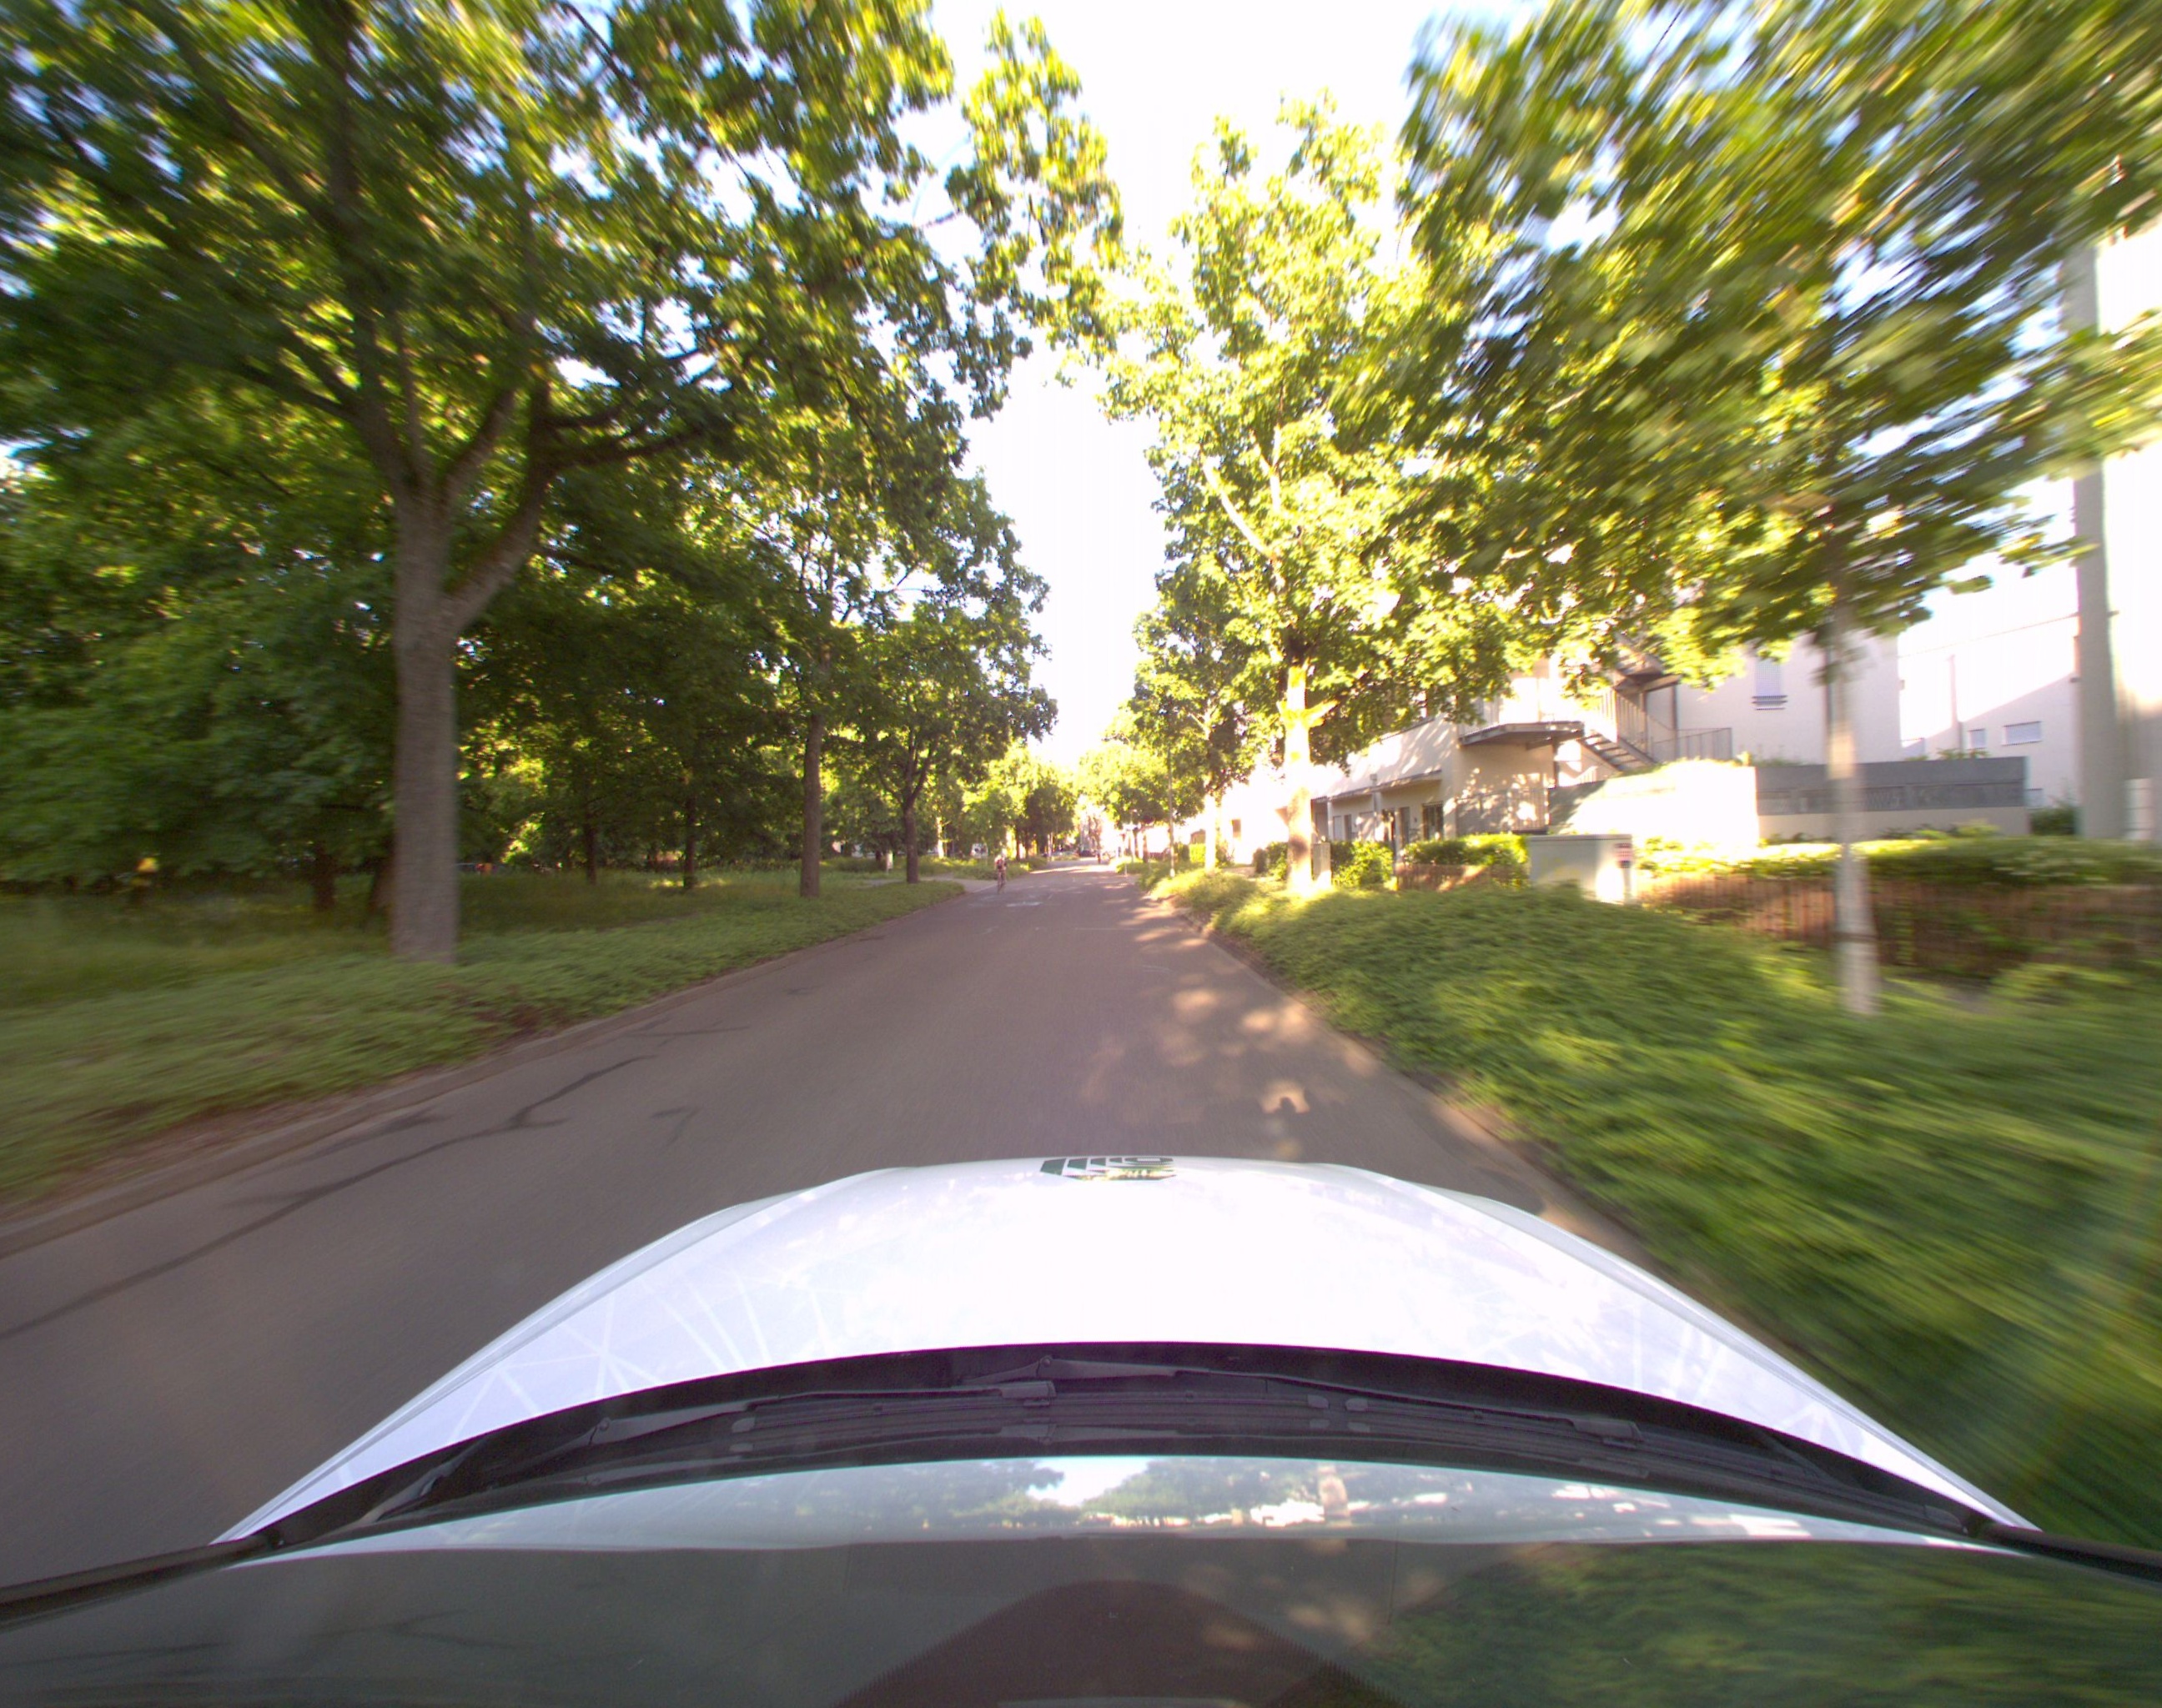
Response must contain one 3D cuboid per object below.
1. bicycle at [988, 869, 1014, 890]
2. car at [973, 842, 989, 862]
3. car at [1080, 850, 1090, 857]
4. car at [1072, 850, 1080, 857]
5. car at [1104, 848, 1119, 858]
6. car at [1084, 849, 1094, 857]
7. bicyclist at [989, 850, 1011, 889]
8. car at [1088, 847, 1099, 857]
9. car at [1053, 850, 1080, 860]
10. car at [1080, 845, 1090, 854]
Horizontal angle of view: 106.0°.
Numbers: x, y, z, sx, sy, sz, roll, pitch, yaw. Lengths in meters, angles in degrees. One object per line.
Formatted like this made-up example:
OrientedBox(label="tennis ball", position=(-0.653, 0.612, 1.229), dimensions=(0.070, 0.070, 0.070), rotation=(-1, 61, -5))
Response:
OrientedBox(label="bicycle", position=(-3.293, 1.051, 33.541), dimensions=(0.636, 0.742, 2.129), rotation=(-4, 0, 5))
OrientedBox(label="car", position=(-12.988, -0.205, 105.630), dimensions=(1.992, 2.508, 3.989), rotation=(-1, 0, -8))
OrientedBox(label="car", position=(0.903, -0.154, 172.452), dimensions=(1.807, 1.501, 3.996), rotation=(-1, 0, -3))
OrientedBox(label="car", position=(-1.295, -0.146, 199.626), dimensions=(1.807, 1.501, 3.996), rotation=(-1, 0, -3))
OrientedBox(label="car", position=(4.808, -0.106, 129.069), dimensions=(1.809, 1.501, 3.991), rotation=(-3, 0, -7))
OrientedBox(label="car", position=(1.677, -0.168, 165.916), dimensions=(1.807, 1.501, 3.996), rotation=(-1, 0, -3))
OrientedBox(label="bicyclist", position=(-3.320, 0.624, 33.450), dimensions=(0.630, 1.554, 1.004), rotation=(-4, 0, 4))
OrientedBox(label="car", position=(2.406, -0.375, 157.778), dimensions=(1.807, 1.925, 3.996), rotation=(-1, 0, -3))
OrientedBox(label="car", position=(-2.299, 0.083, 126.927), dimensions=(3.984, 1.501, 1.812), rotation=(-1, 0, -8))
OrientedBox(label="car", position=(0.888, -1.046, 182.663), dimensions=(1.807, 2.050, 3.996), rotation=(-1, 0, -3))
